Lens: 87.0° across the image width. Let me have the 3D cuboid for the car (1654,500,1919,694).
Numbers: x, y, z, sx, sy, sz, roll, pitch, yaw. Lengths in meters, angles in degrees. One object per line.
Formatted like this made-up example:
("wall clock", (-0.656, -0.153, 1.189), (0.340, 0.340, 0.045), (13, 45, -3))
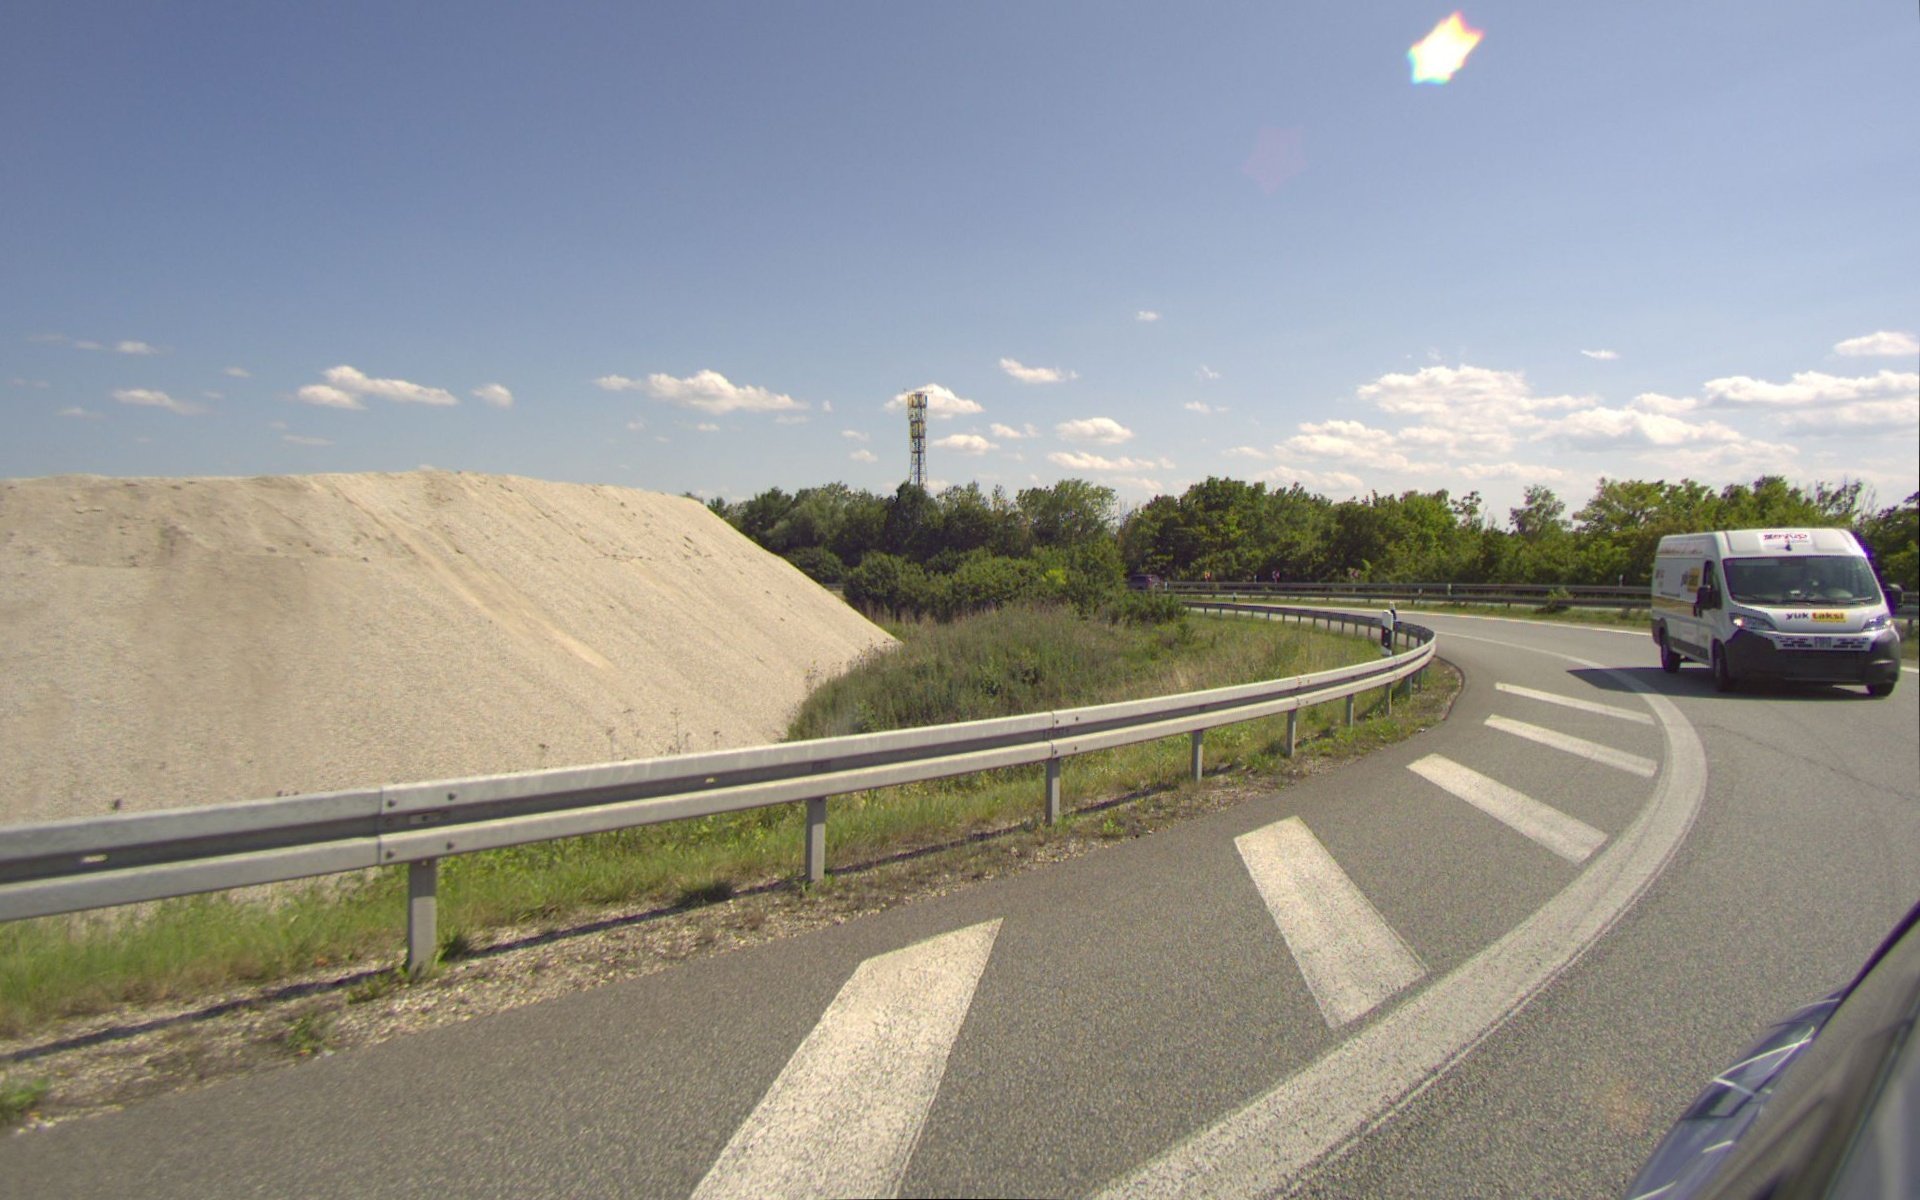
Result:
("car", (13.235, -0.083, 16.600), (2.068, 2.555, 6.181), (-3, 0, 26))

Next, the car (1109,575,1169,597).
("car", (15.102, -1.148, 85.807), (1.962, 1.752, 5.199), (-2, 1, -33))
